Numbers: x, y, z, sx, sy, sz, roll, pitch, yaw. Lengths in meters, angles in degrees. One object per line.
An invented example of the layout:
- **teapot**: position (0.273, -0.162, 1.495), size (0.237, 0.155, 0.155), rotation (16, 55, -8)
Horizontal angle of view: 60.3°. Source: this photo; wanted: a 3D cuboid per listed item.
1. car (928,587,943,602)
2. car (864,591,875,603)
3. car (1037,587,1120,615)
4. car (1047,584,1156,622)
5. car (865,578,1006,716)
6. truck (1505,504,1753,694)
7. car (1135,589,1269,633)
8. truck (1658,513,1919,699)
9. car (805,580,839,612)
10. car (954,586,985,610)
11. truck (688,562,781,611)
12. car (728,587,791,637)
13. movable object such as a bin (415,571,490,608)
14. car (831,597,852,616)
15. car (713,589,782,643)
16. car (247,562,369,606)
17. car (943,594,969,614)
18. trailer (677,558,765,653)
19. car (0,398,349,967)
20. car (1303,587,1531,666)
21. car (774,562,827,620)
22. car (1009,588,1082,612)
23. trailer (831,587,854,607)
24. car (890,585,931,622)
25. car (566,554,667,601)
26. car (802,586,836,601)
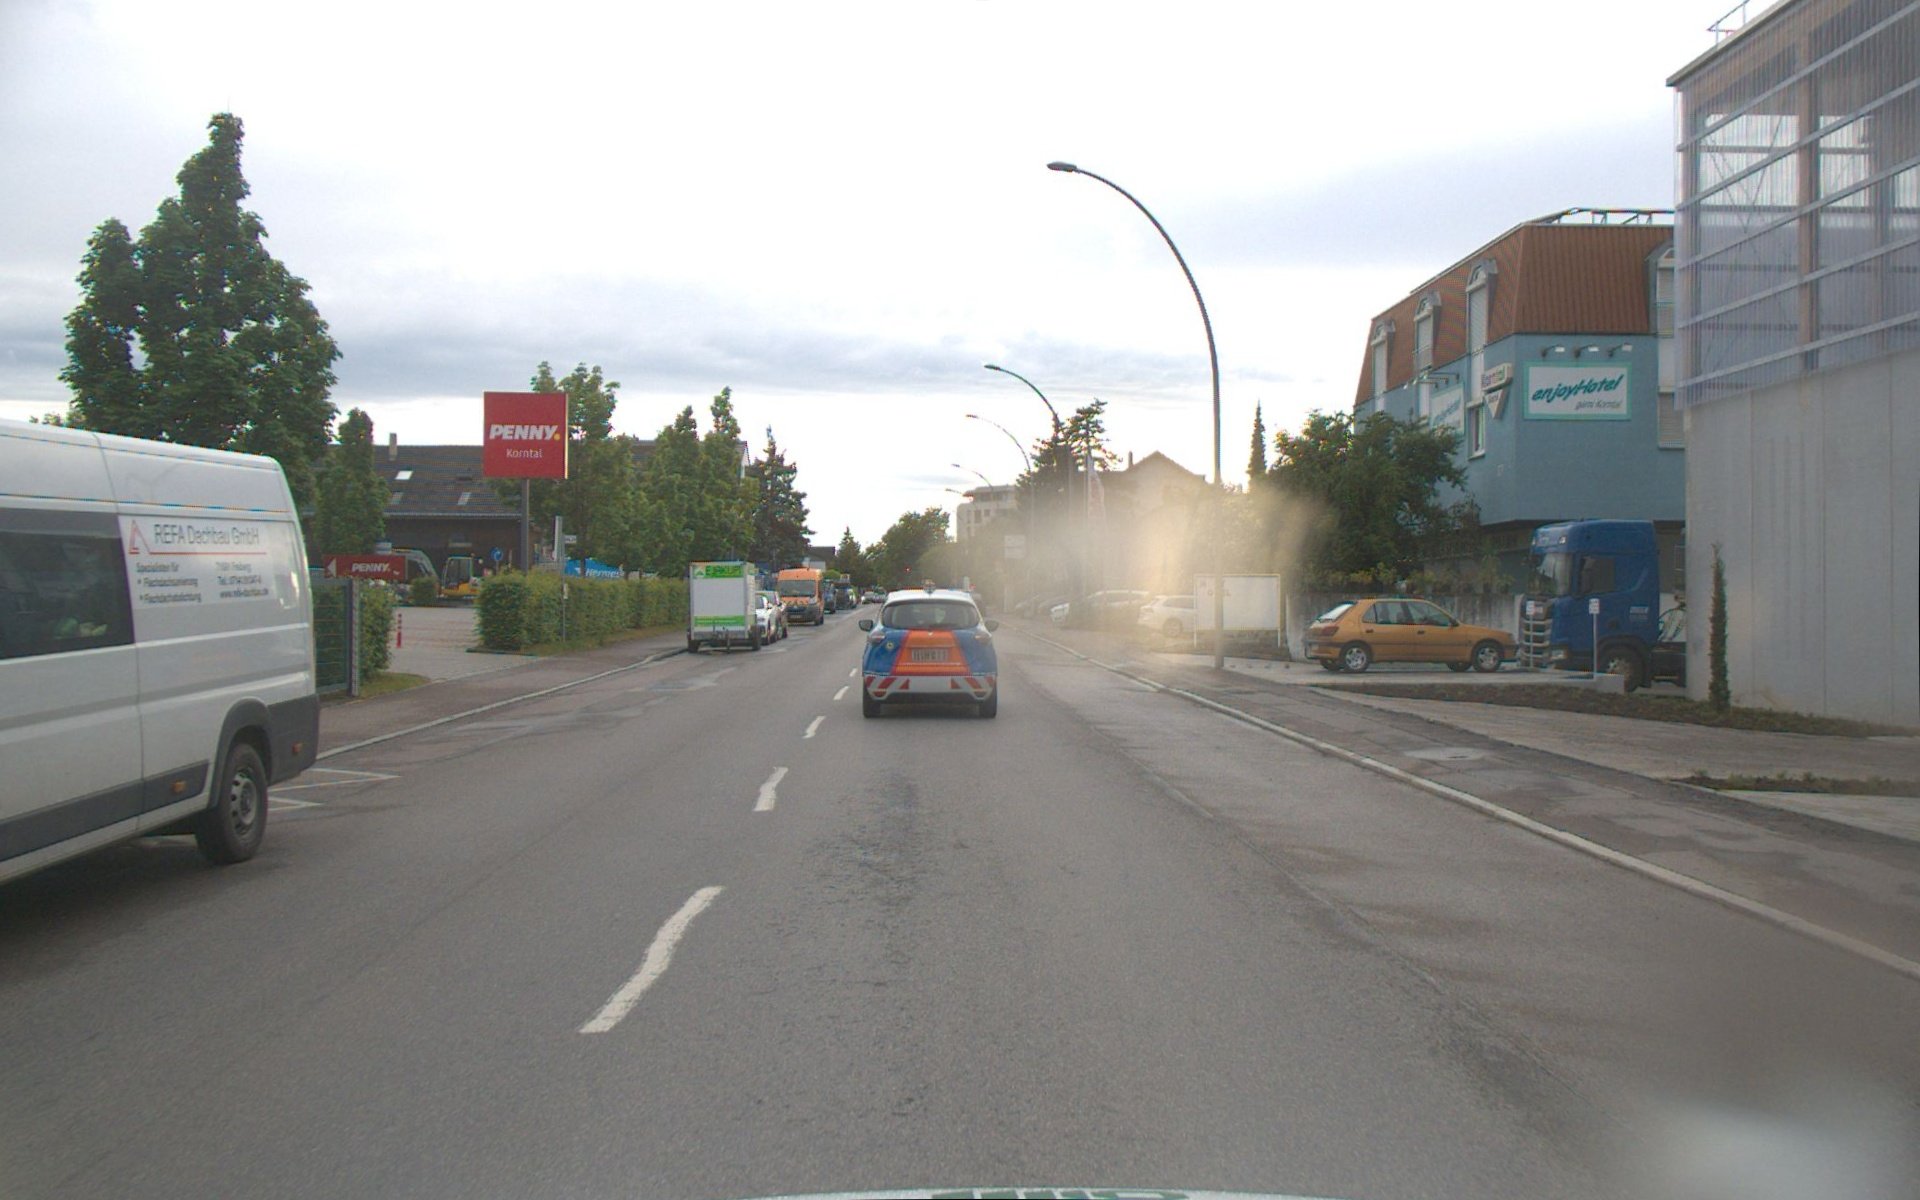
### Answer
- **car**: position (-2.935, -0.679, 200.336), size (1.617, 1.701, 3.997), rotation (1, 0, -4)
- **car**: position (-11.505, -0.415, 210.768), size (1.359, 1.509, 3.781), rotation (0, 0, -4)
- **car**: position (5.791, 0.067, 81.262), size (3.905, 1.288, 1.951), rotation (1, 0, 0)
- **car**: position (5.816, 0.123, 68.068), size (4.251, 1.501, 1.902), rotation (1, 0, -3)
- **car**: position (-0.373, 0.564, 21.634), size (1.697, 1.659, 3.493), rotation (0, 0, -3)
- **truck**: position (14.415, -0.013, 35.864), size (4.063, 3.737, 2.718), rotation (3, 0, -4)
- **car**: position (8.383, 0.374, 57.492), size (4.327, 1.417, 1.879), rotation (1, 0, -3)
- **truck**: position (20.043, 0.194, 36.269), size (8.366, 3.772, 2.720), rotation (2, 0, -4)
- **car**: position (-8.903, -0.245, 107.242), size (1.953, 1.981, 5.363), rotation (1, 0, -2)
- **car**: position (0.572, -0.138, 97.901), size (1.558, 1.364, 4.090), rotation (1, 0, -3)
- **truck**: position (-14.929, -0.888, 109.894), size (5.792, 3.127, 2.449), rotation (1, 0, -1)
- **car**: position (-6.761, 0.362, 56.030), size (1.769, 1.601, 4.340), rotation (0, 1, -2)
- **movable object such as a bin**: position (-26.115, -0.529, 85.235), size (3.358, 1.790, 1.996), rotation (1, 0, -8)
- **car**: position (-9.456, 0.526, 132.375), size (1.526, 1.458, 3.998), rotation (1, 0, -2)
- **car**: position (-6.428, 0.457, 50.444), size (1.737, 1.525, 4.135), rotation (0, 1, -2)
- **car**: position (-25.137, -0.595, 63.898), size (3.977, 1.578, 1.883), rotation (1, 0, -7)
- **car**: position (-0.320, 0.303, 130.068), size (1.678, 1.463, 4.522), rotation (1, 0, -4)
- **trailer**: position (-6.344, 0.117, 44.404), size (1.776, 2.354, 4.728), rotation (-2, 1, -2)
- **car**: position (-5.266, 0.390, 8.236), size (2.115, 2.469, 6.457), rotation (-3, 0, -2)
- **car**: position (8.736, 0.495, 31.774), size (3.908, 1.455, 1.630), rotation (0, 0, -4)
- **car**: position (-7.232, -0.428, 75.584), size (2.082, 2.582, 6.019), rotation (0, 1, -3)
- **car**: position (4.770, -0.004, 92.905), size (3.908, 1.288, 1.949), rotation (1, 0, -4)
- **trailer**: position (-8.821, -0.247, 124.799), size (1.683, 1.282, 5.241), rotation (1, 2, -4)
- **car**: position (-2.185, 0.158, 72.231), size (1.617, 1.548, 3.997), rotation (1, 0, -4)
- **car**: position (-15.863, -1.013, 76.467), size (4.219, 2.049, 2.062), rotation (1, 0, -2)
- **car**: position (-15.794, -0.727, 185.295), size (3.687, 1.604, 1.653), rotation (1, 0, -6)
